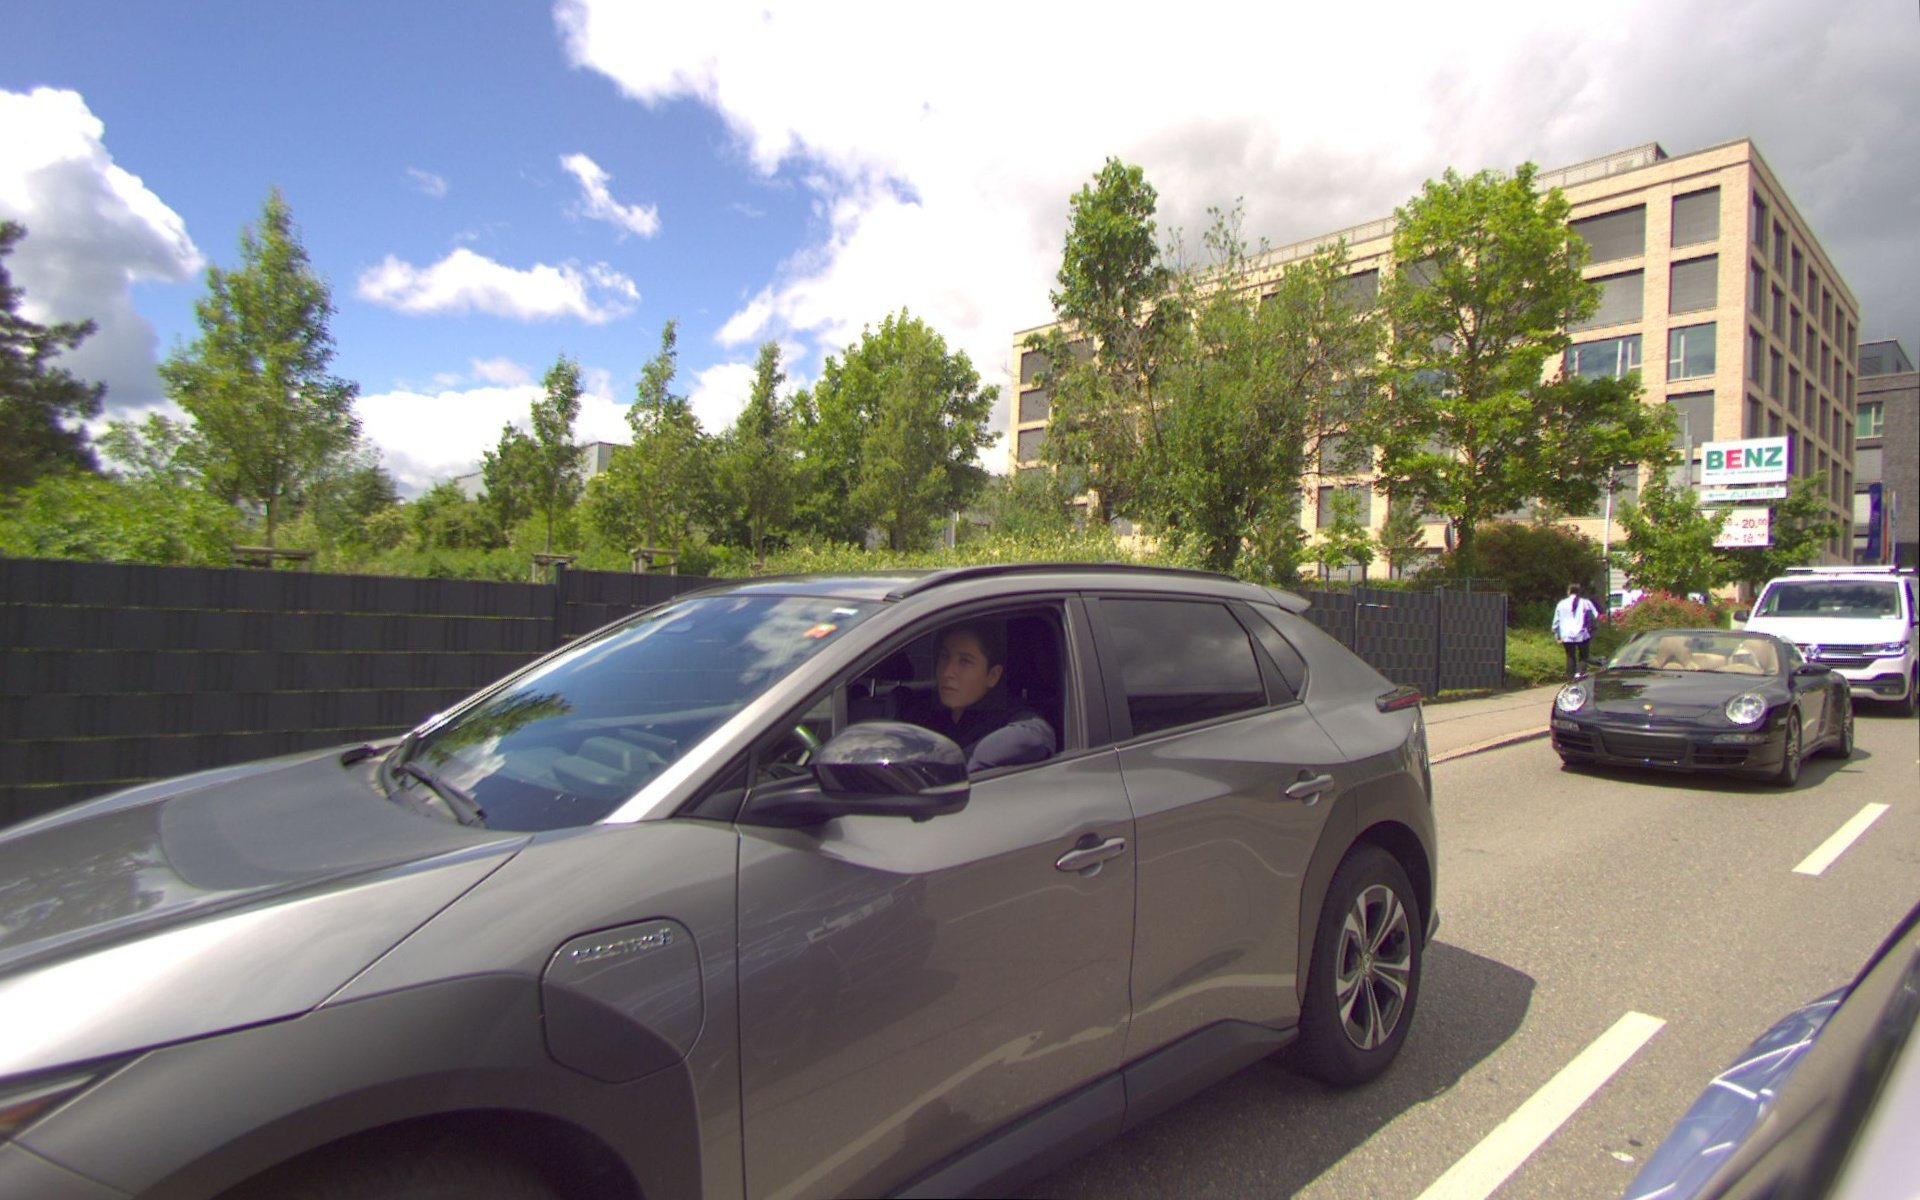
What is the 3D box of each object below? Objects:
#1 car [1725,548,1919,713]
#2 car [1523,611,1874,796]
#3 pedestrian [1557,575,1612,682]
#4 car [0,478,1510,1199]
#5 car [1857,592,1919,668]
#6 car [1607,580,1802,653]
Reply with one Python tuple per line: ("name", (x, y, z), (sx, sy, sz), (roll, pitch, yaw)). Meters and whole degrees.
("car", (13.224, 0.375, 14.989), (4.677, 2.075, 2.087), (0, 0, -41))
("car", (7.042, 0.791, 9.511), (3.967, 1.310, 1.823), (0, 0, -41))
("pedestrian", (9.977, 0.439, 16.173), (0.435, 1.678, 0.631), (0, 1, -42))
("car", (-0.348, 0.678, 2.926), (4.501, 1.649, 1.997), (0, 1, -42))
("car", (20.241, 0.591, 21.070), (3.930, 1.481, 1.817), (0, 2, -41))
("car", (19.986, 0.374, 27.277), (1.793, 1.754, 3.991), (0, 2, -44))
